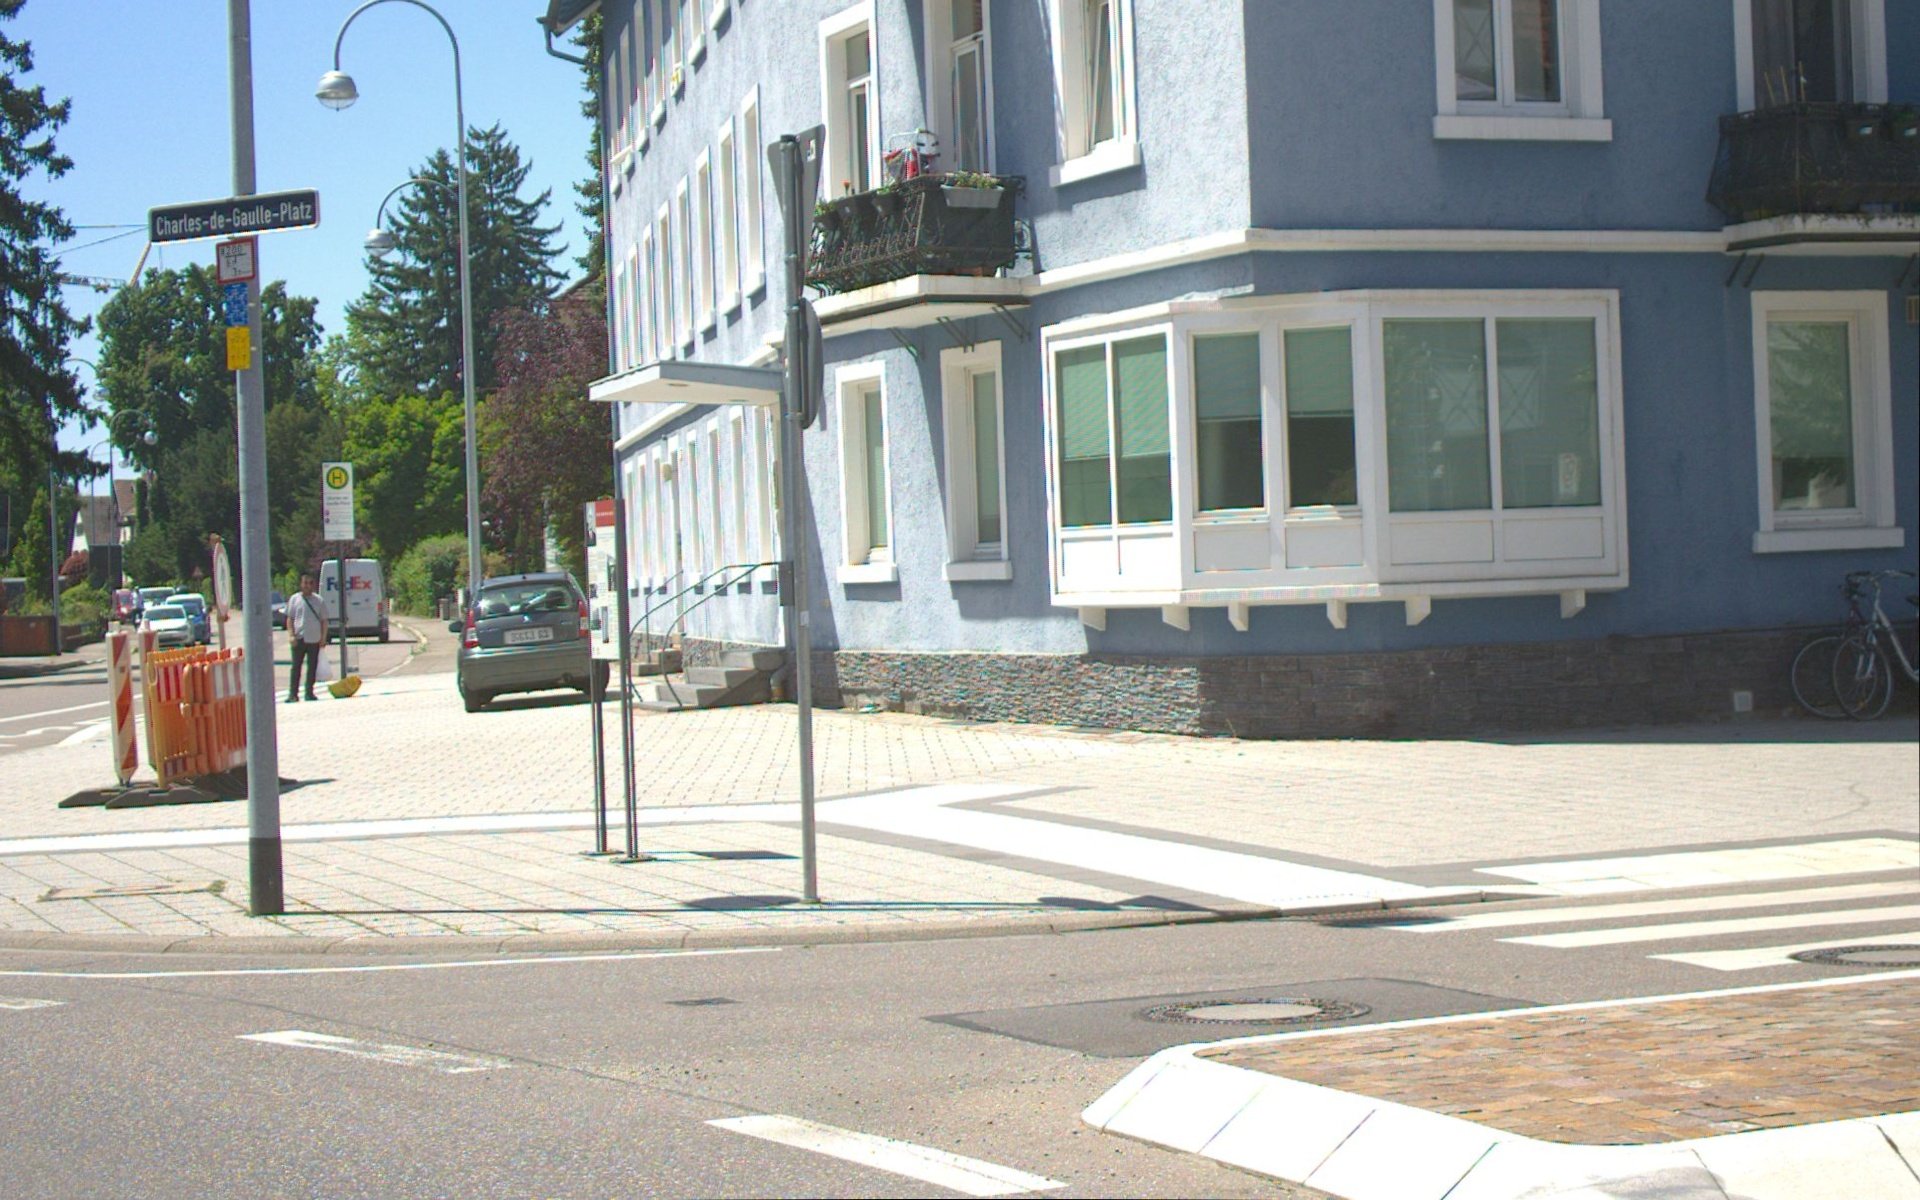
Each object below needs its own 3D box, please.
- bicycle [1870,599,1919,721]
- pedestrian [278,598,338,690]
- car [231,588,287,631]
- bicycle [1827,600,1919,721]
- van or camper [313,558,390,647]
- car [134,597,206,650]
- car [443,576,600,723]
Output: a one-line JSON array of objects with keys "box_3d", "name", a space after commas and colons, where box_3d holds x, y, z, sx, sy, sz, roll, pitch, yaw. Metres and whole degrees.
[{"box_3d": [7.936, 0.442, 26.793, 1.707, 0.903, 0.440, -2, 2, -22], "name": "bicycle"}, {"box_3d": [-9.601, 0.641, 50.647, 0.666, 1.281, 0.587, -5, 1, -1], "name": "pedestrian"}, {"box_3d": [-28.594, 0.390, 140.311, 1.993, 1.711, 4.001, -2, 0, -9], "name": "car"}, {"box_3d": [7.711, 0.458, 27.221, 1.707, 0.903, 0.440, -2, 2, -22], "name": "bicycle"}, {"box_3d": [-18.580, 0.072, 104.899, 2.205, 2.602, 4.001, -2, 0, -10], "name": "van or camper"}, {"box_3d": [-25.725, 0.752, 112.059, 1.993, 1.645, 4.001, -2, 0, -10], "name": "car"}, {"box_3d": [-5.203, 0.541, 40.557, 1.639, 1.502, 3.564, -5, 1, -8], "name": "car"}]
